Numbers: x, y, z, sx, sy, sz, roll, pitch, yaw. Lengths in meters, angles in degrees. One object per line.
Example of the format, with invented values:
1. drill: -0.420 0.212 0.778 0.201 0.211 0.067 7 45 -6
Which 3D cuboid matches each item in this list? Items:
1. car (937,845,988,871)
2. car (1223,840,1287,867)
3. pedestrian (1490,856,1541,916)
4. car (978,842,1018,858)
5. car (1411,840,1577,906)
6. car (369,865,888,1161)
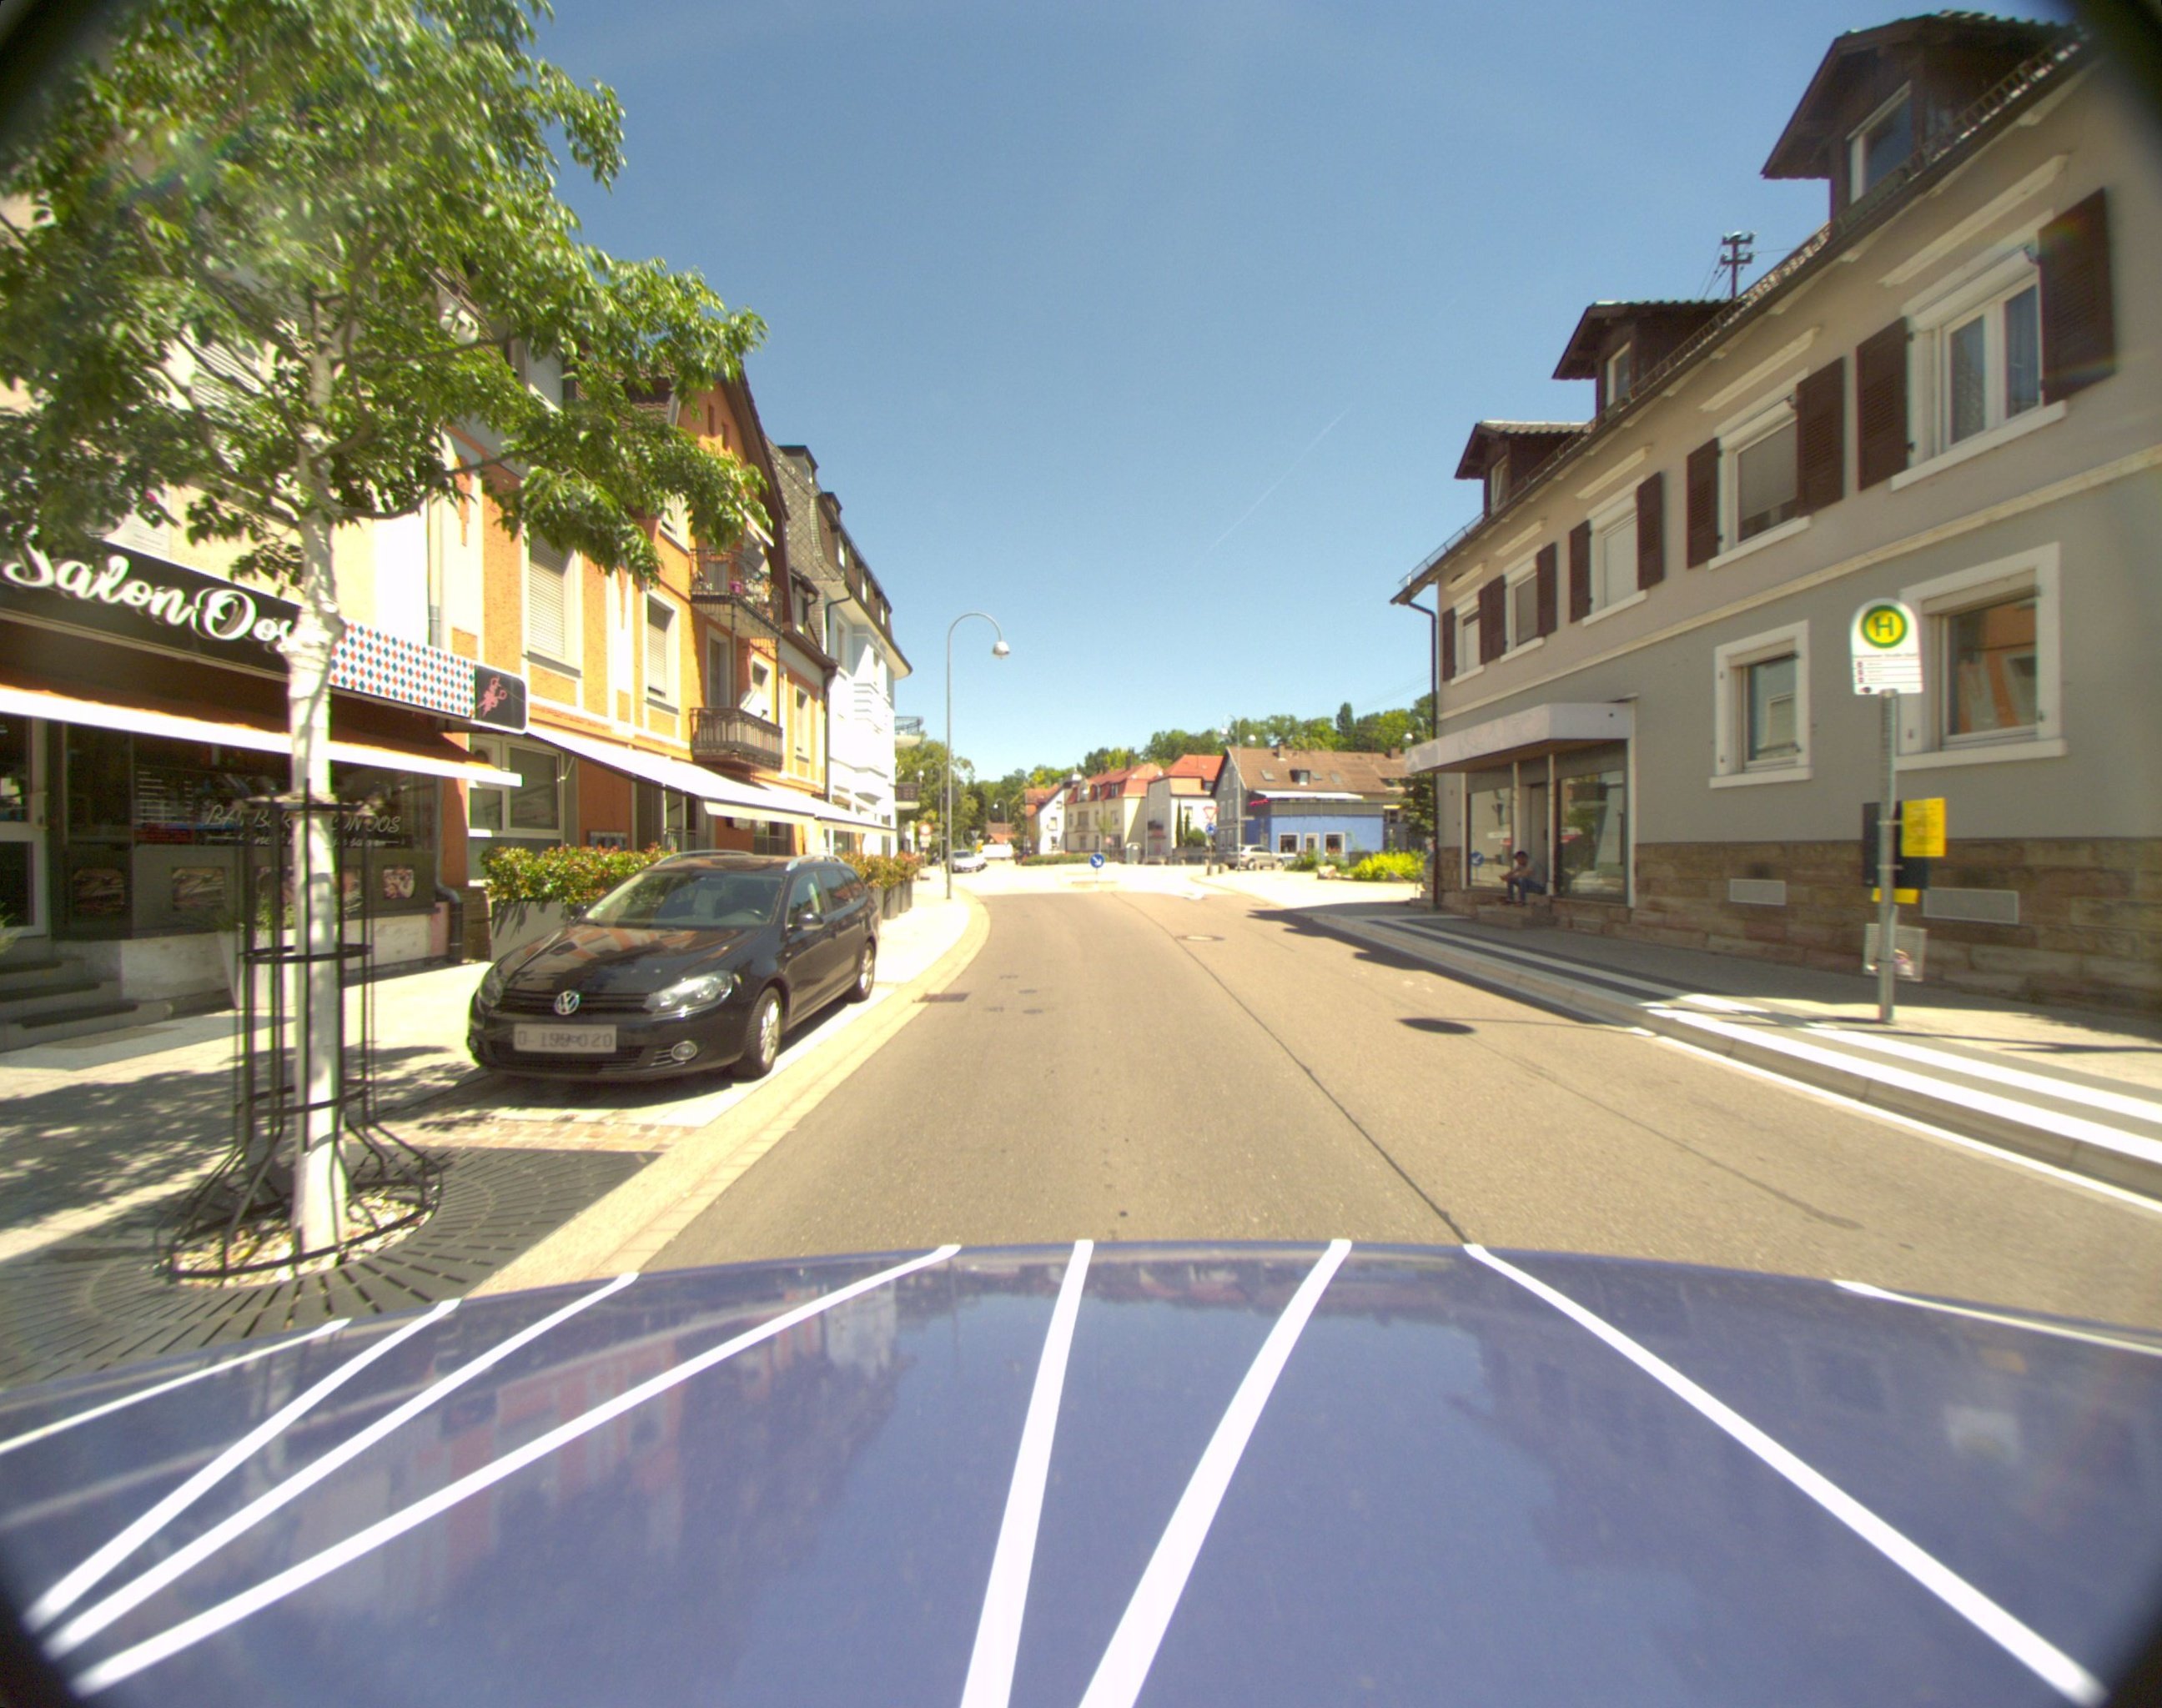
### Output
1. car: -7.727 0.256 49.254 2.003 1.587 4.181 -1 1 -28
2. car: 11.067 -0.051 48.310 3.925 1.599 1.811 0 3 -38
3. pedestrian: 7.859 0.568 13.759 0.598 1.053 0.567 -1 1 -2
4. car: -13.511 -0.719 123.427 6.363 2.447 2.305 -1 1 -9
5. car: 11.213 0.491 20.768 3.721 1.652 1.602 -1 1 -4
6. car: -2.978 0.894 6.242 1.734 1.464 4.322 1 1 -1
